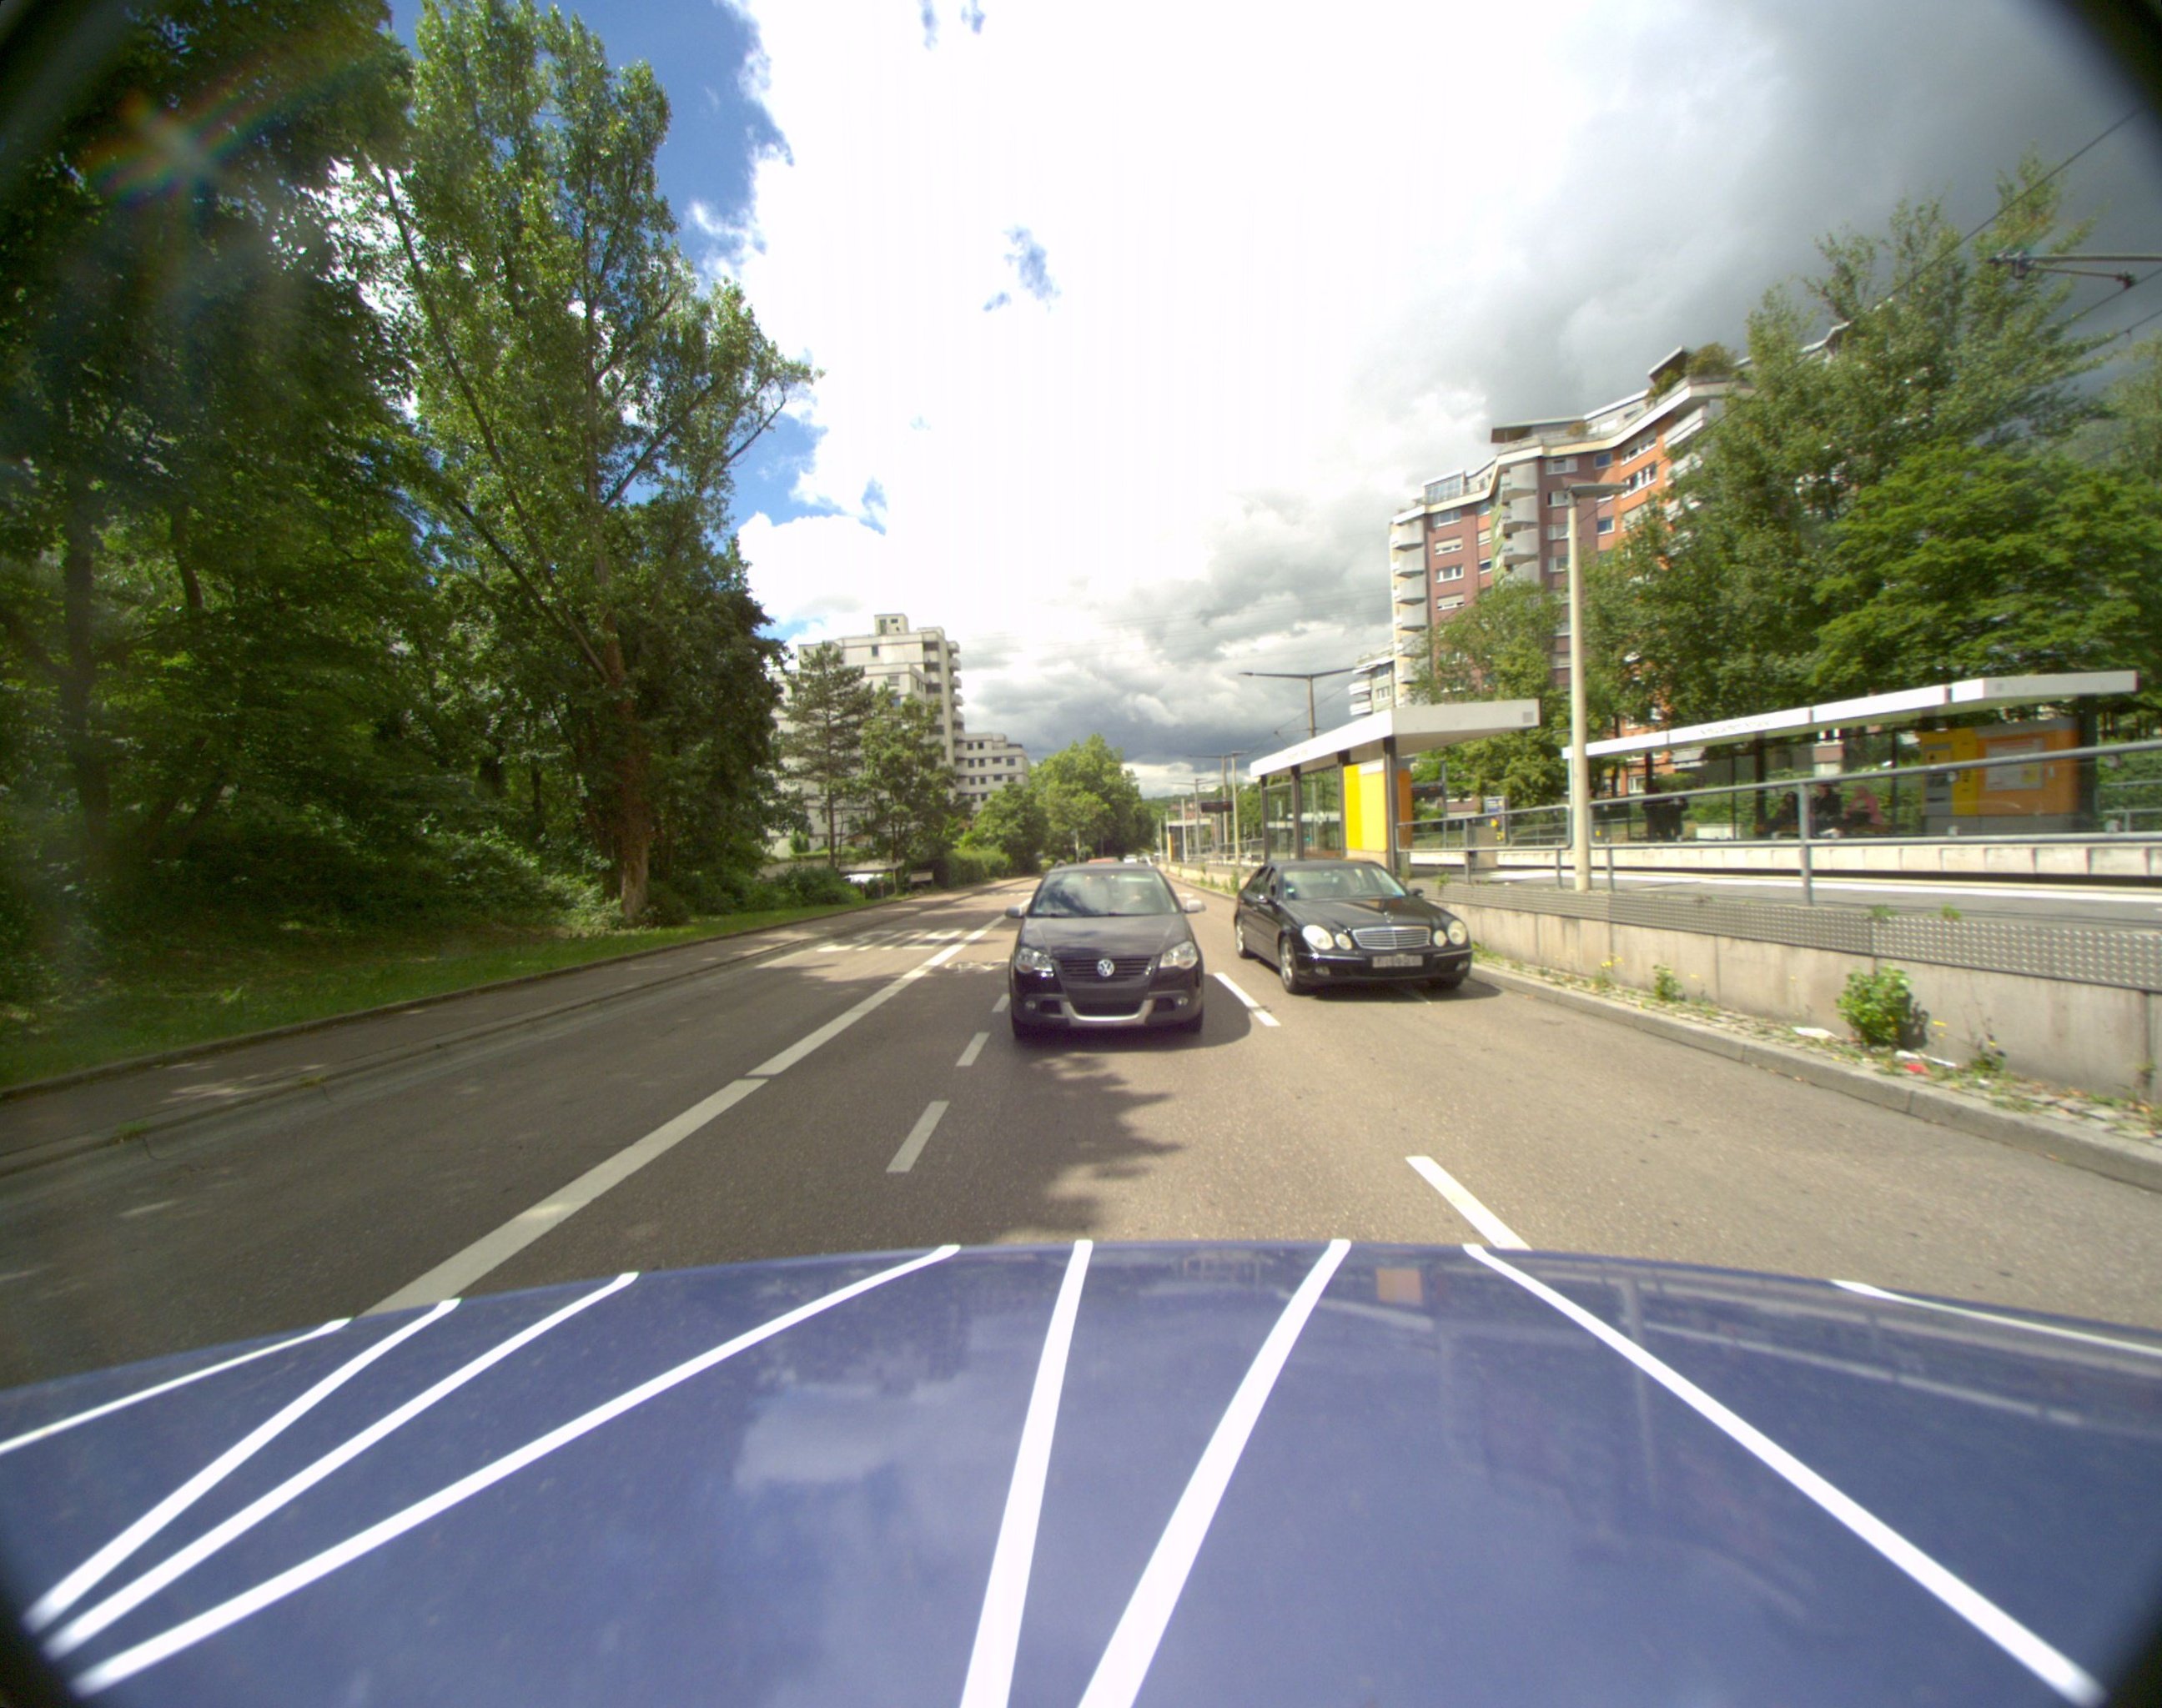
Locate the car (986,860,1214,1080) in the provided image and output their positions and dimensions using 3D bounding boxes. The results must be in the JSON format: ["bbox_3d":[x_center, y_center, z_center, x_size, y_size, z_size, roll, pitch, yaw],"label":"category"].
[{"bbox_3d":[0.250,0.890,7.659,1.641,1.521,4.000,-2,1,3],"label":"car"}]

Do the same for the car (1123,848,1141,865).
[{"bbox_3d":[6.444,0.271,95.424,1.997,2.002,4.001,-3,1,7],"label":"car"}]

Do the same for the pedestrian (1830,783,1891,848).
[{"bbox_3d":[15.595,-0.762,15.207,0.713,1.270,0.463,-2,1,0],"label":"pedestrian"}]

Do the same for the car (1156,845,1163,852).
[{"bbox_3d":[17.750,-1.265,171.986,1.518,1.674,4.001,-2,1,4],"label":"car"}]

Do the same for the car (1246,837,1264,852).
[{"bbox_3d":[24.151,-1.314,105.685,1.737,2.002,4.000,-2,1,3],"label":"car"}]

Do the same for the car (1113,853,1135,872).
[{"bbox_3d":[3.504,0.642,61.704,1.643,1.395,3.708,-2,1,5],"label":"car"}]

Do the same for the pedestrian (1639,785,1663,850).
[{"bbox_3d":[15.266,-0.976,20.351,0.354,1.703,0.426,-3,1,-41],"label":"pedestrian"}]

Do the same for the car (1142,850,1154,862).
[{"bbox_3d":[10.514,0.265,119.774,1.801,1.698,4.001,-3,1,4],"label":"car"}]

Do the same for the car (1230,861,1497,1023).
[{"bbox_3d":[3.035,0.845,9.132,1.821,1.377,4.066,-2,1,3],"label":"car"}]

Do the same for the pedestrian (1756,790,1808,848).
[{"bbox_3d":[15.769,-0.782,17.102,0.713,1.270,0.463,-2,1,0],"label":"pedestrian"}]

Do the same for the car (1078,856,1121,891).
[{"bbox_3d":[0.899,0.856,34.982,1.821,1.377,4.066,-2,1,3],"label":"car"}]

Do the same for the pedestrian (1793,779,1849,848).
[{"bbox_3d":[15.614,-0.838,16.039,0.713,1.409,0.463,-2,1,0],"label":"pedestrian"}]

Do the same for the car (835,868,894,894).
[{"bbox_3d":[-19.269,2.398,67.706,4.543,2.002,2.001,-2,1,7],"label":"car"}]

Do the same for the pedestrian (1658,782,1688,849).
[{"bbox_3d":[15.609,-1.003,20.035,0.387,1.703,0.550,-3,1,-42],"label":"pedestrian"}]
